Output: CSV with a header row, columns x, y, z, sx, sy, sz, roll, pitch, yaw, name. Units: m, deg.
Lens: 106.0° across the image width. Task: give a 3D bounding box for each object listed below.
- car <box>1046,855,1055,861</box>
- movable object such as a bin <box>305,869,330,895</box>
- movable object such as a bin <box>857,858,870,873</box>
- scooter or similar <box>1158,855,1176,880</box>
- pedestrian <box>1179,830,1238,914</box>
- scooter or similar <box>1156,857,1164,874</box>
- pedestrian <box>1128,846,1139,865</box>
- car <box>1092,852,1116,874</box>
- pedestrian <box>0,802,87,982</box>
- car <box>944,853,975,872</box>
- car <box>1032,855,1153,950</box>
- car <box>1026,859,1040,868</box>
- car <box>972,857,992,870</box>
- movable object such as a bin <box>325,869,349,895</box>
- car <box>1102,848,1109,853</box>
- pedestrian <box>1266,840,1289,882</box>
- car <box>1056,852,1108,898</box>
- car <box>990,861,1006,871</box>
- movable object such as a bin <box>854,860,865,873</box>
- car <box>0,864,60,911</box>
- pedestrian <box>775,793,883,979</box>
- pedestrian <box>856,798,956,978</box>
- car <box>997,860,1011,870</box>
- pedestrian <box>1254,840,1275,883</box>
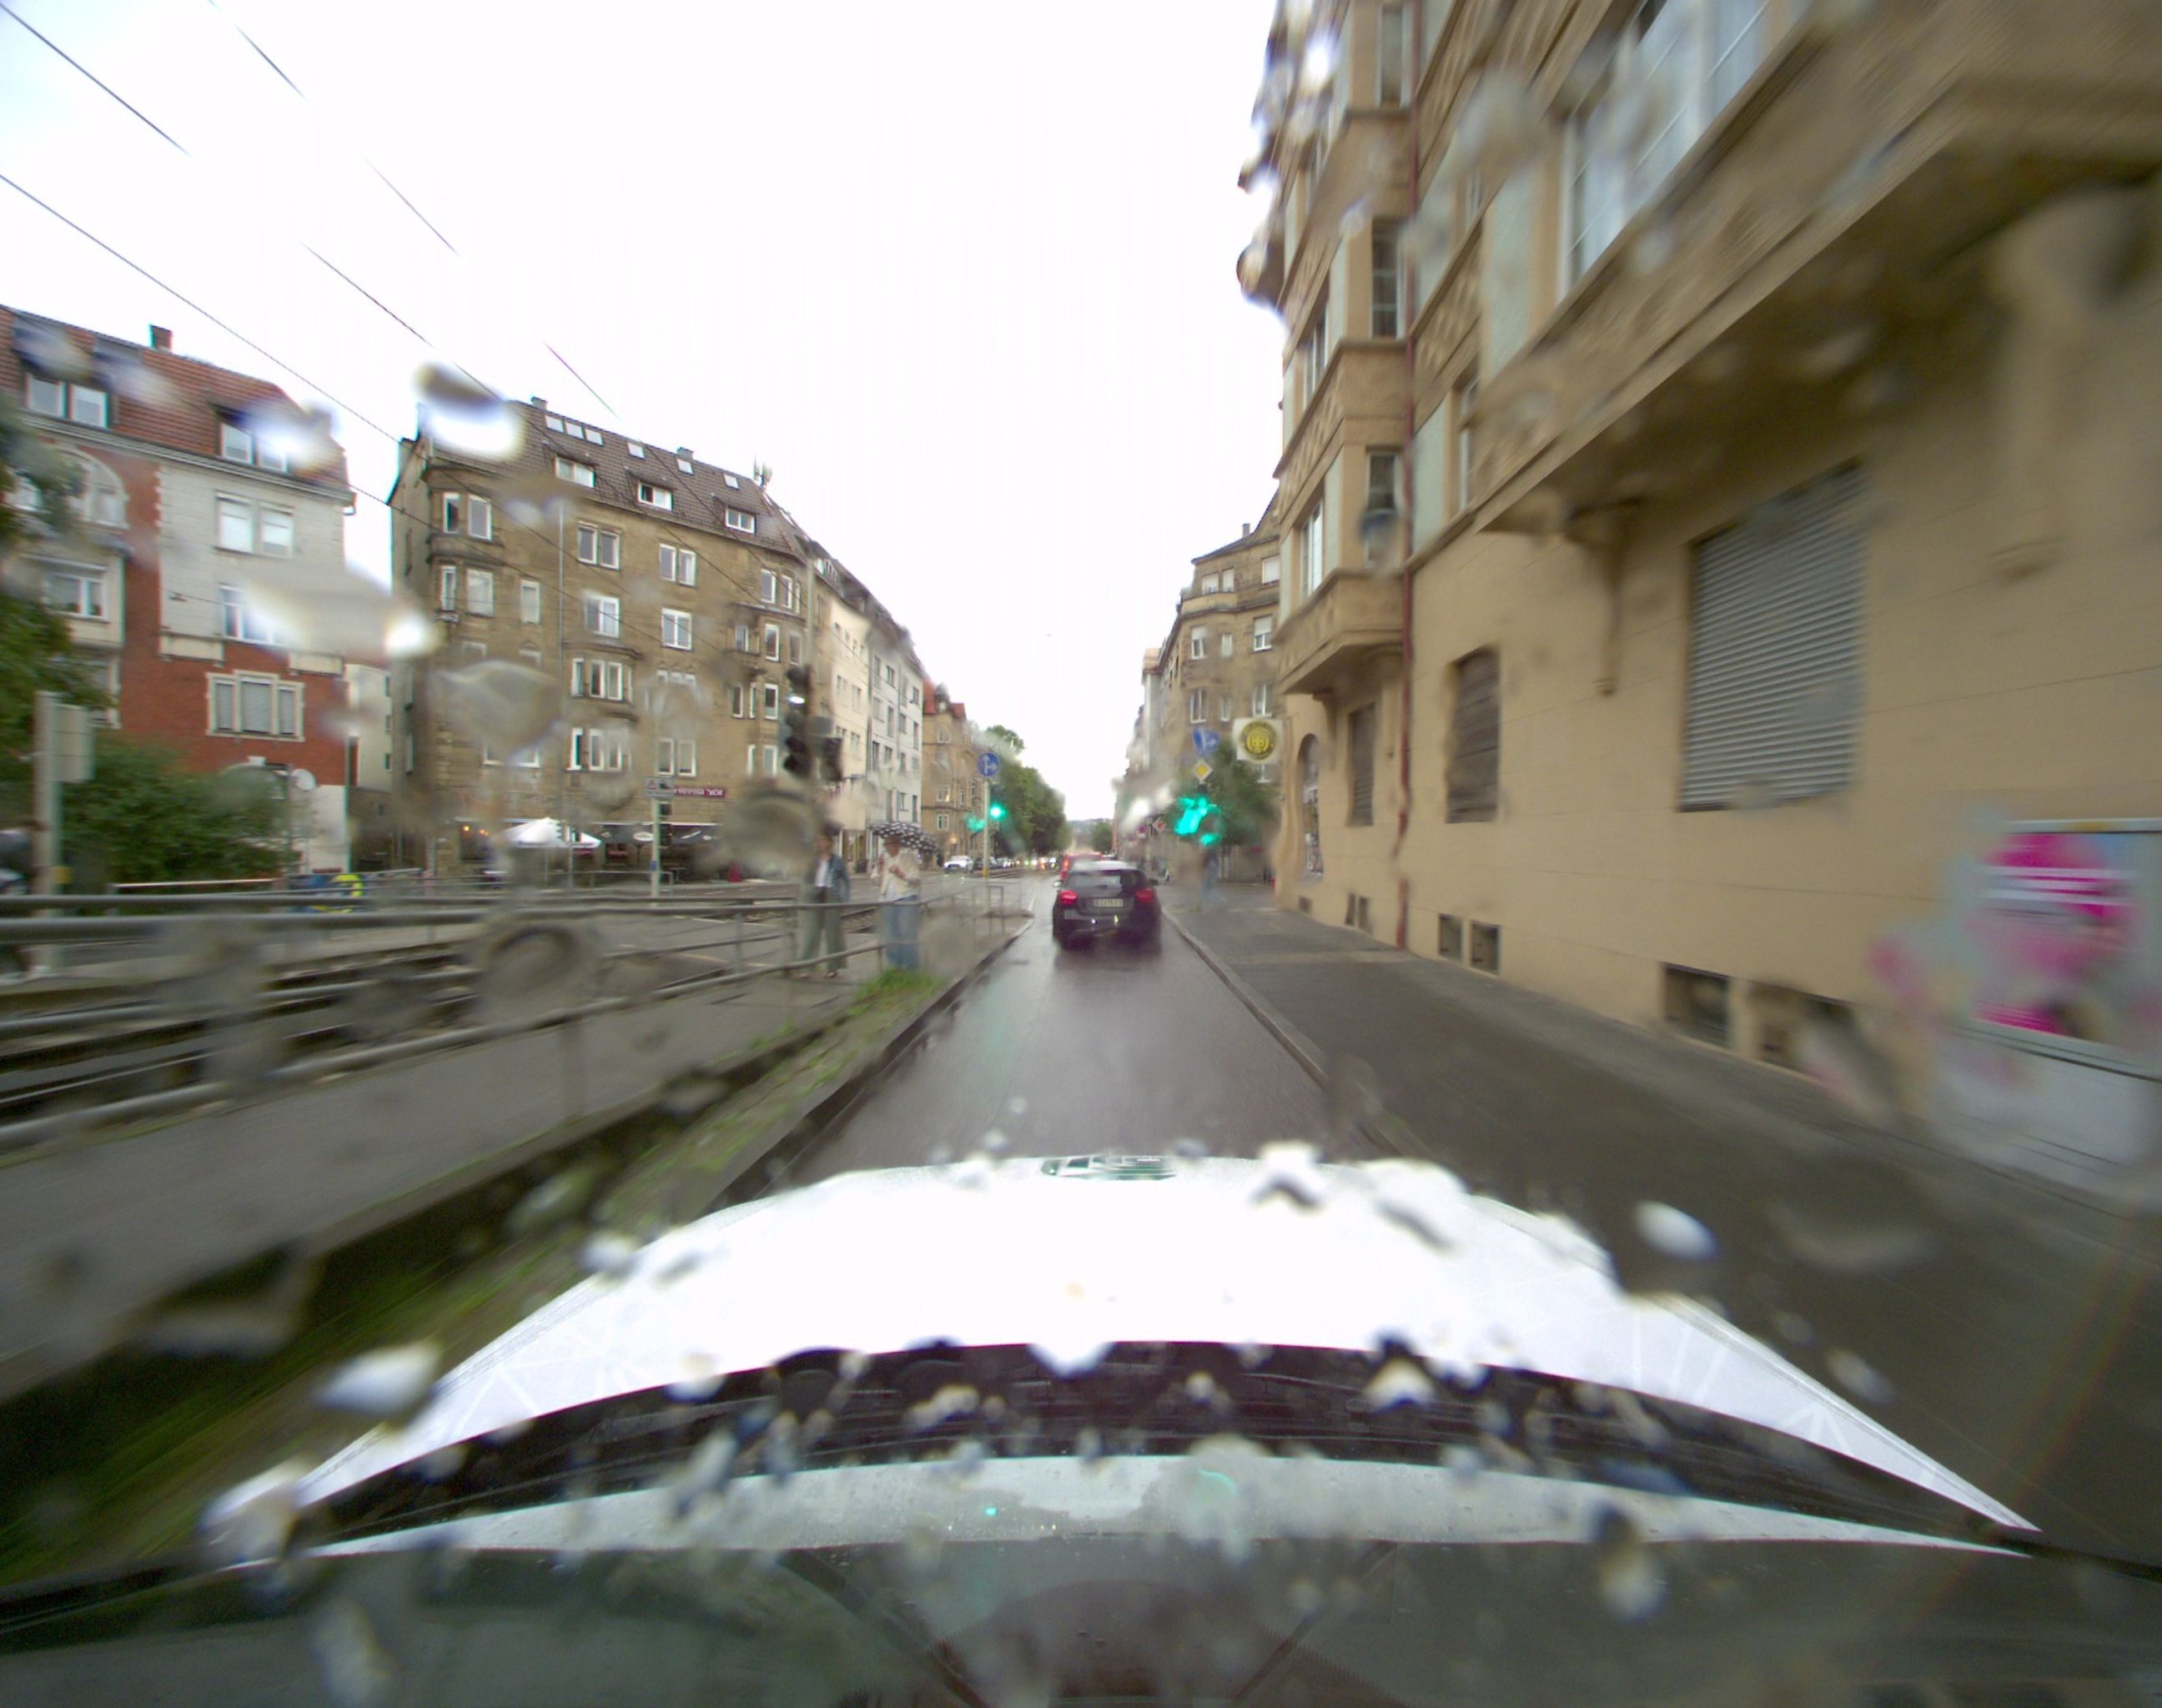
x,y,z,sx,sy,sz,roll,pitch,yaw,name
-7.112,1.010,189.051,1.688,1.388,3.484,-1,0,3,car
-30.538,1.120,32.568,0.712,1.042,0.554,-1,-1,32,movable object such as a bin
-16.424,0.842,61.488,0.710,1.074,0.687,3,0,1,movable object such as a bin
4.371,0.680,41.447,0.636,1.210,1.551,-1,0,-3,scooter or similar
2.952,0.416,18.930,0.902,1.840,0.962,-3,0,-19,pedestrian
5.511,0.794,56.771,0.394,1.216,1.106,0,0,0,scooter or similar
4.962,0.164,77.068,0.942,1.769,1.015,-1,0,-1,pedestrian
1.763,0.690,61.772,1.759,1.559,4.747,-1,0,2,car
-11.143,0.384,8.488,0.509,1.818,0.800,1,-1,2,pedestrian
-11.162,0.782,75.179,1.986,1.628,5.254,-1,-1,2,car
0.297,0.747,14.544,1.858,1.452,4.003,0,0,3,car
-8.022,1.516,135.696,1.941,1.397,4.276,-2,0,2,car
-12.122,1.205,100.219,1.715,1.541,3.937,-1,0,3,car
-30.200,1.134,33.062,0.712,1.042,0.554,-1,-1,32,movable object such as a bin
6.464,-0.884,213.890,1.607,1.317,4.001,1,0,1,car
8.433,0.295,34.942,0.680,1.788,0.901,-2,-1,-2,pedestrian
0.008,0.671,27.963,1.644,1.452,3.998,0,0,-1,car
-11.728,1.640,115.221,1.562,1.316,3.484,-1,0,3,car
-16.531,0.919,60.732,0.591,0.911,0.560,3,0,1,movable object such as a bin
-33.939,1.035,24.312,1.720,1.403,4.193,-1,0,43,car
-2.858,0.352,9.345,0.893,2.014,0.948,1,0,1,pedestrian
-2.032,0.382,9.609,0.922,2.014,0.948,1,0,1,pedestrian
-11.390,1.553,120.605,1.562,1.413,3.484,-1,0,3,car
7.843,0.319,34.825,0.592,1.788,0.890,-2,-1,-2,pedestrian
